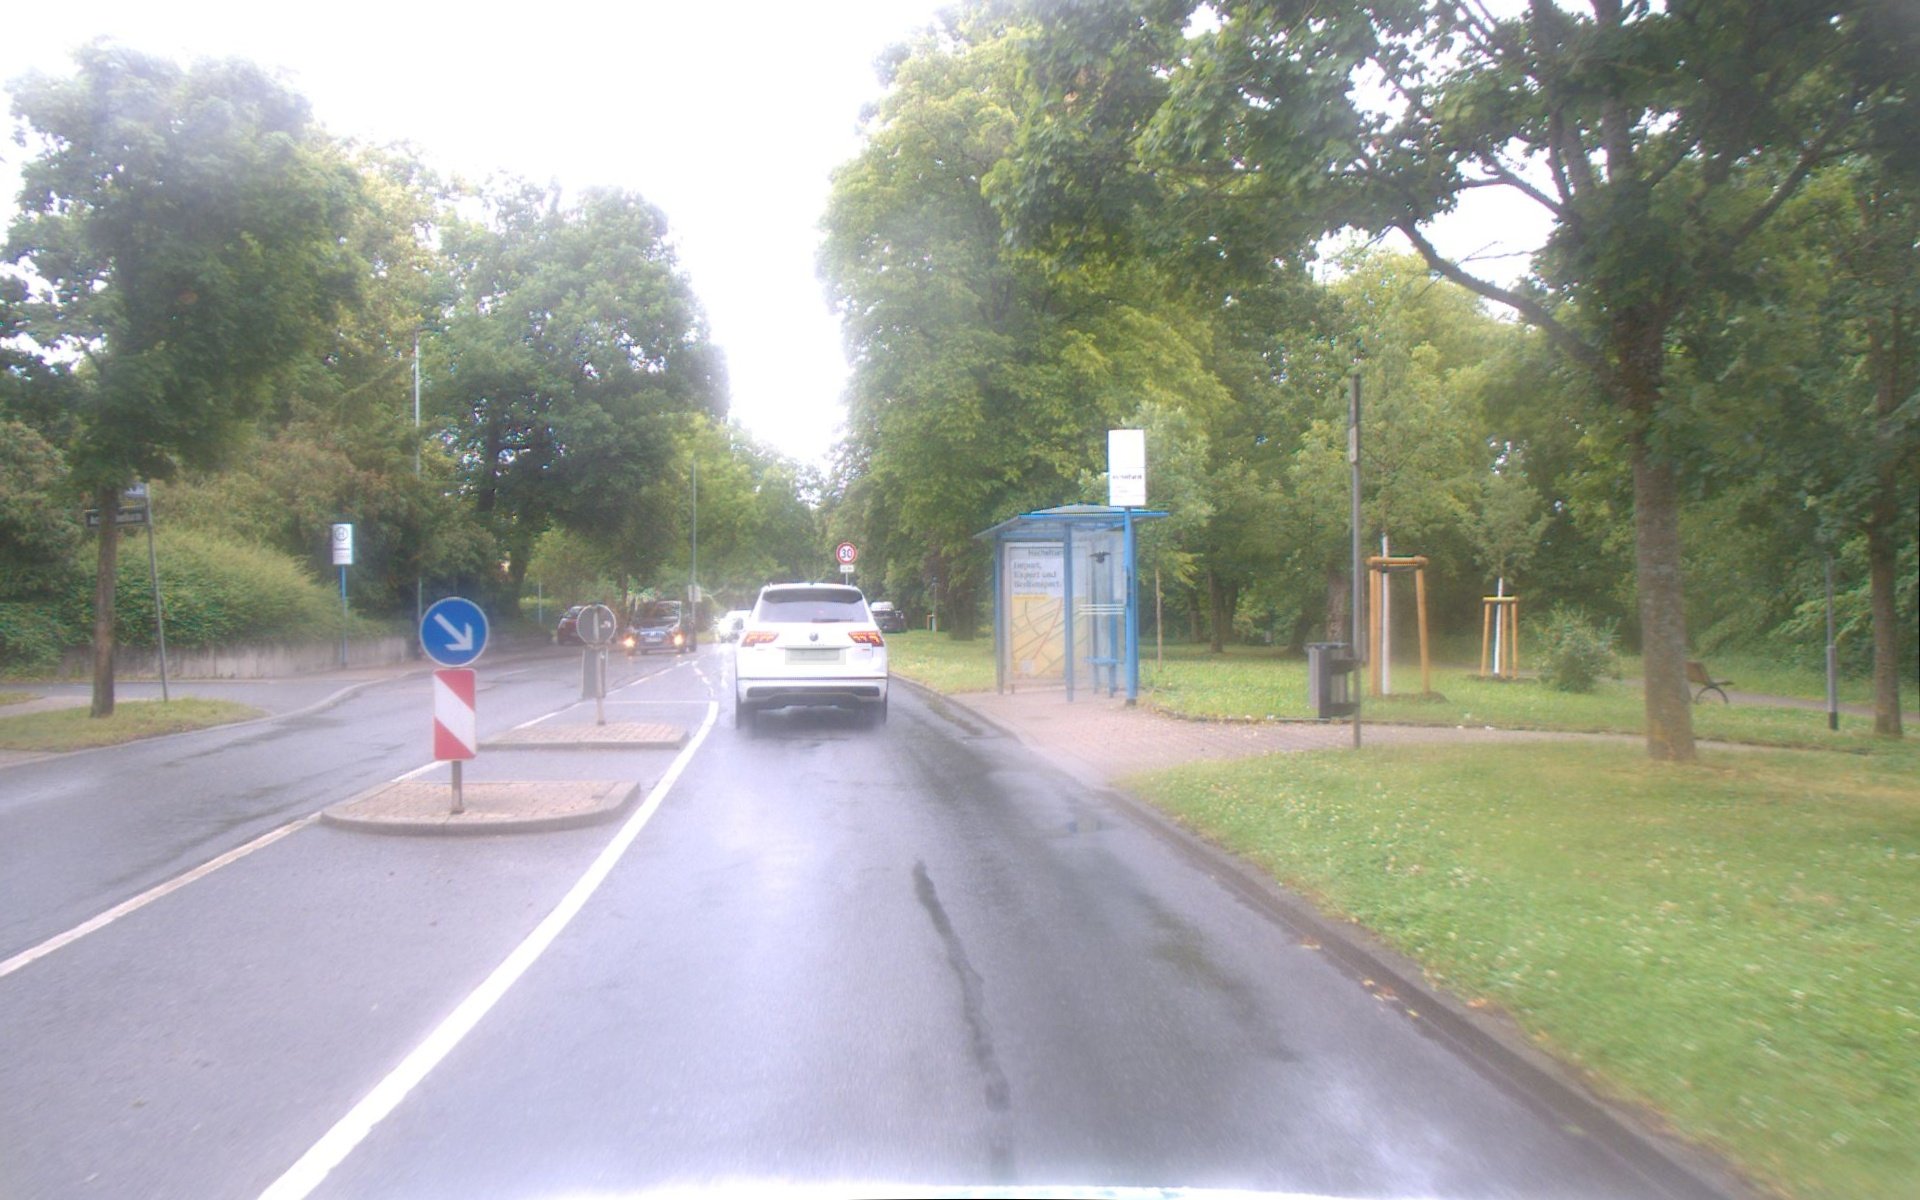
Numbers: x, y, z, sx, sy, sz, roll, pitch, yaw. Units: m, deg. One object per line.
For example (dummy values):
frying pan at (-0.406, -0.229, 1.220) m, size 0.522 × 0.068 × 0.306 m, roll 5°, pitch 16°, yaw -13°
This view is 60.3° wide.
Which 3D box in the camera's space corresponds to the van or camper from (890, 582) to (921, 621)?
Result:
van or camper at (-3.787, 0.155, 116.116) m, size 1.975 × 2.628 × 8.433 m, roll 1°, pitch -1°, yaw -1°

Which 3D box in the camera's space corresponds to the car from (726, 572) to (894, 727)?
car at (-1.821, 0.568, 20.650) m, size 1.868 × 1.715 × 4.197 m, roll -1°, pitch 0°, yaw -4°

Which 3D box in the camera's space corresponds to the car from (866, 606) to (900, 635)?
car at (-4.080, 1.114, 88.500) m, size 1.666 × 1.487 × 4.215 m, roll -2°, pitch -1°, yaw -1°

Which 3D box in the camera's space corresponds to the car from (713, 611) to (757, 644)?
car at (-10.559, 1.287, 77.721) m, size 1.755 × 1.447 × 4.355 m, roll -1°, pitch 0°, yaw -4°

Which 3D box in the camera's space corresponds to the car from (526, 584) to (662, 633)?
car at (-16.483, 0.387, 74.912) m, size 5.634 × 2.074 × 3.474 m, roll 1°, pitch -1°, yaw -7°

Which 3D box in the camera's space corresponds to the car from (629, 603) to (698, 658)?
car at (-9.102, 0.896, 50.625) m, size 1.959 × 1.604 × 3.988 m, roll 0°, pitch 0°, yaw -12°
